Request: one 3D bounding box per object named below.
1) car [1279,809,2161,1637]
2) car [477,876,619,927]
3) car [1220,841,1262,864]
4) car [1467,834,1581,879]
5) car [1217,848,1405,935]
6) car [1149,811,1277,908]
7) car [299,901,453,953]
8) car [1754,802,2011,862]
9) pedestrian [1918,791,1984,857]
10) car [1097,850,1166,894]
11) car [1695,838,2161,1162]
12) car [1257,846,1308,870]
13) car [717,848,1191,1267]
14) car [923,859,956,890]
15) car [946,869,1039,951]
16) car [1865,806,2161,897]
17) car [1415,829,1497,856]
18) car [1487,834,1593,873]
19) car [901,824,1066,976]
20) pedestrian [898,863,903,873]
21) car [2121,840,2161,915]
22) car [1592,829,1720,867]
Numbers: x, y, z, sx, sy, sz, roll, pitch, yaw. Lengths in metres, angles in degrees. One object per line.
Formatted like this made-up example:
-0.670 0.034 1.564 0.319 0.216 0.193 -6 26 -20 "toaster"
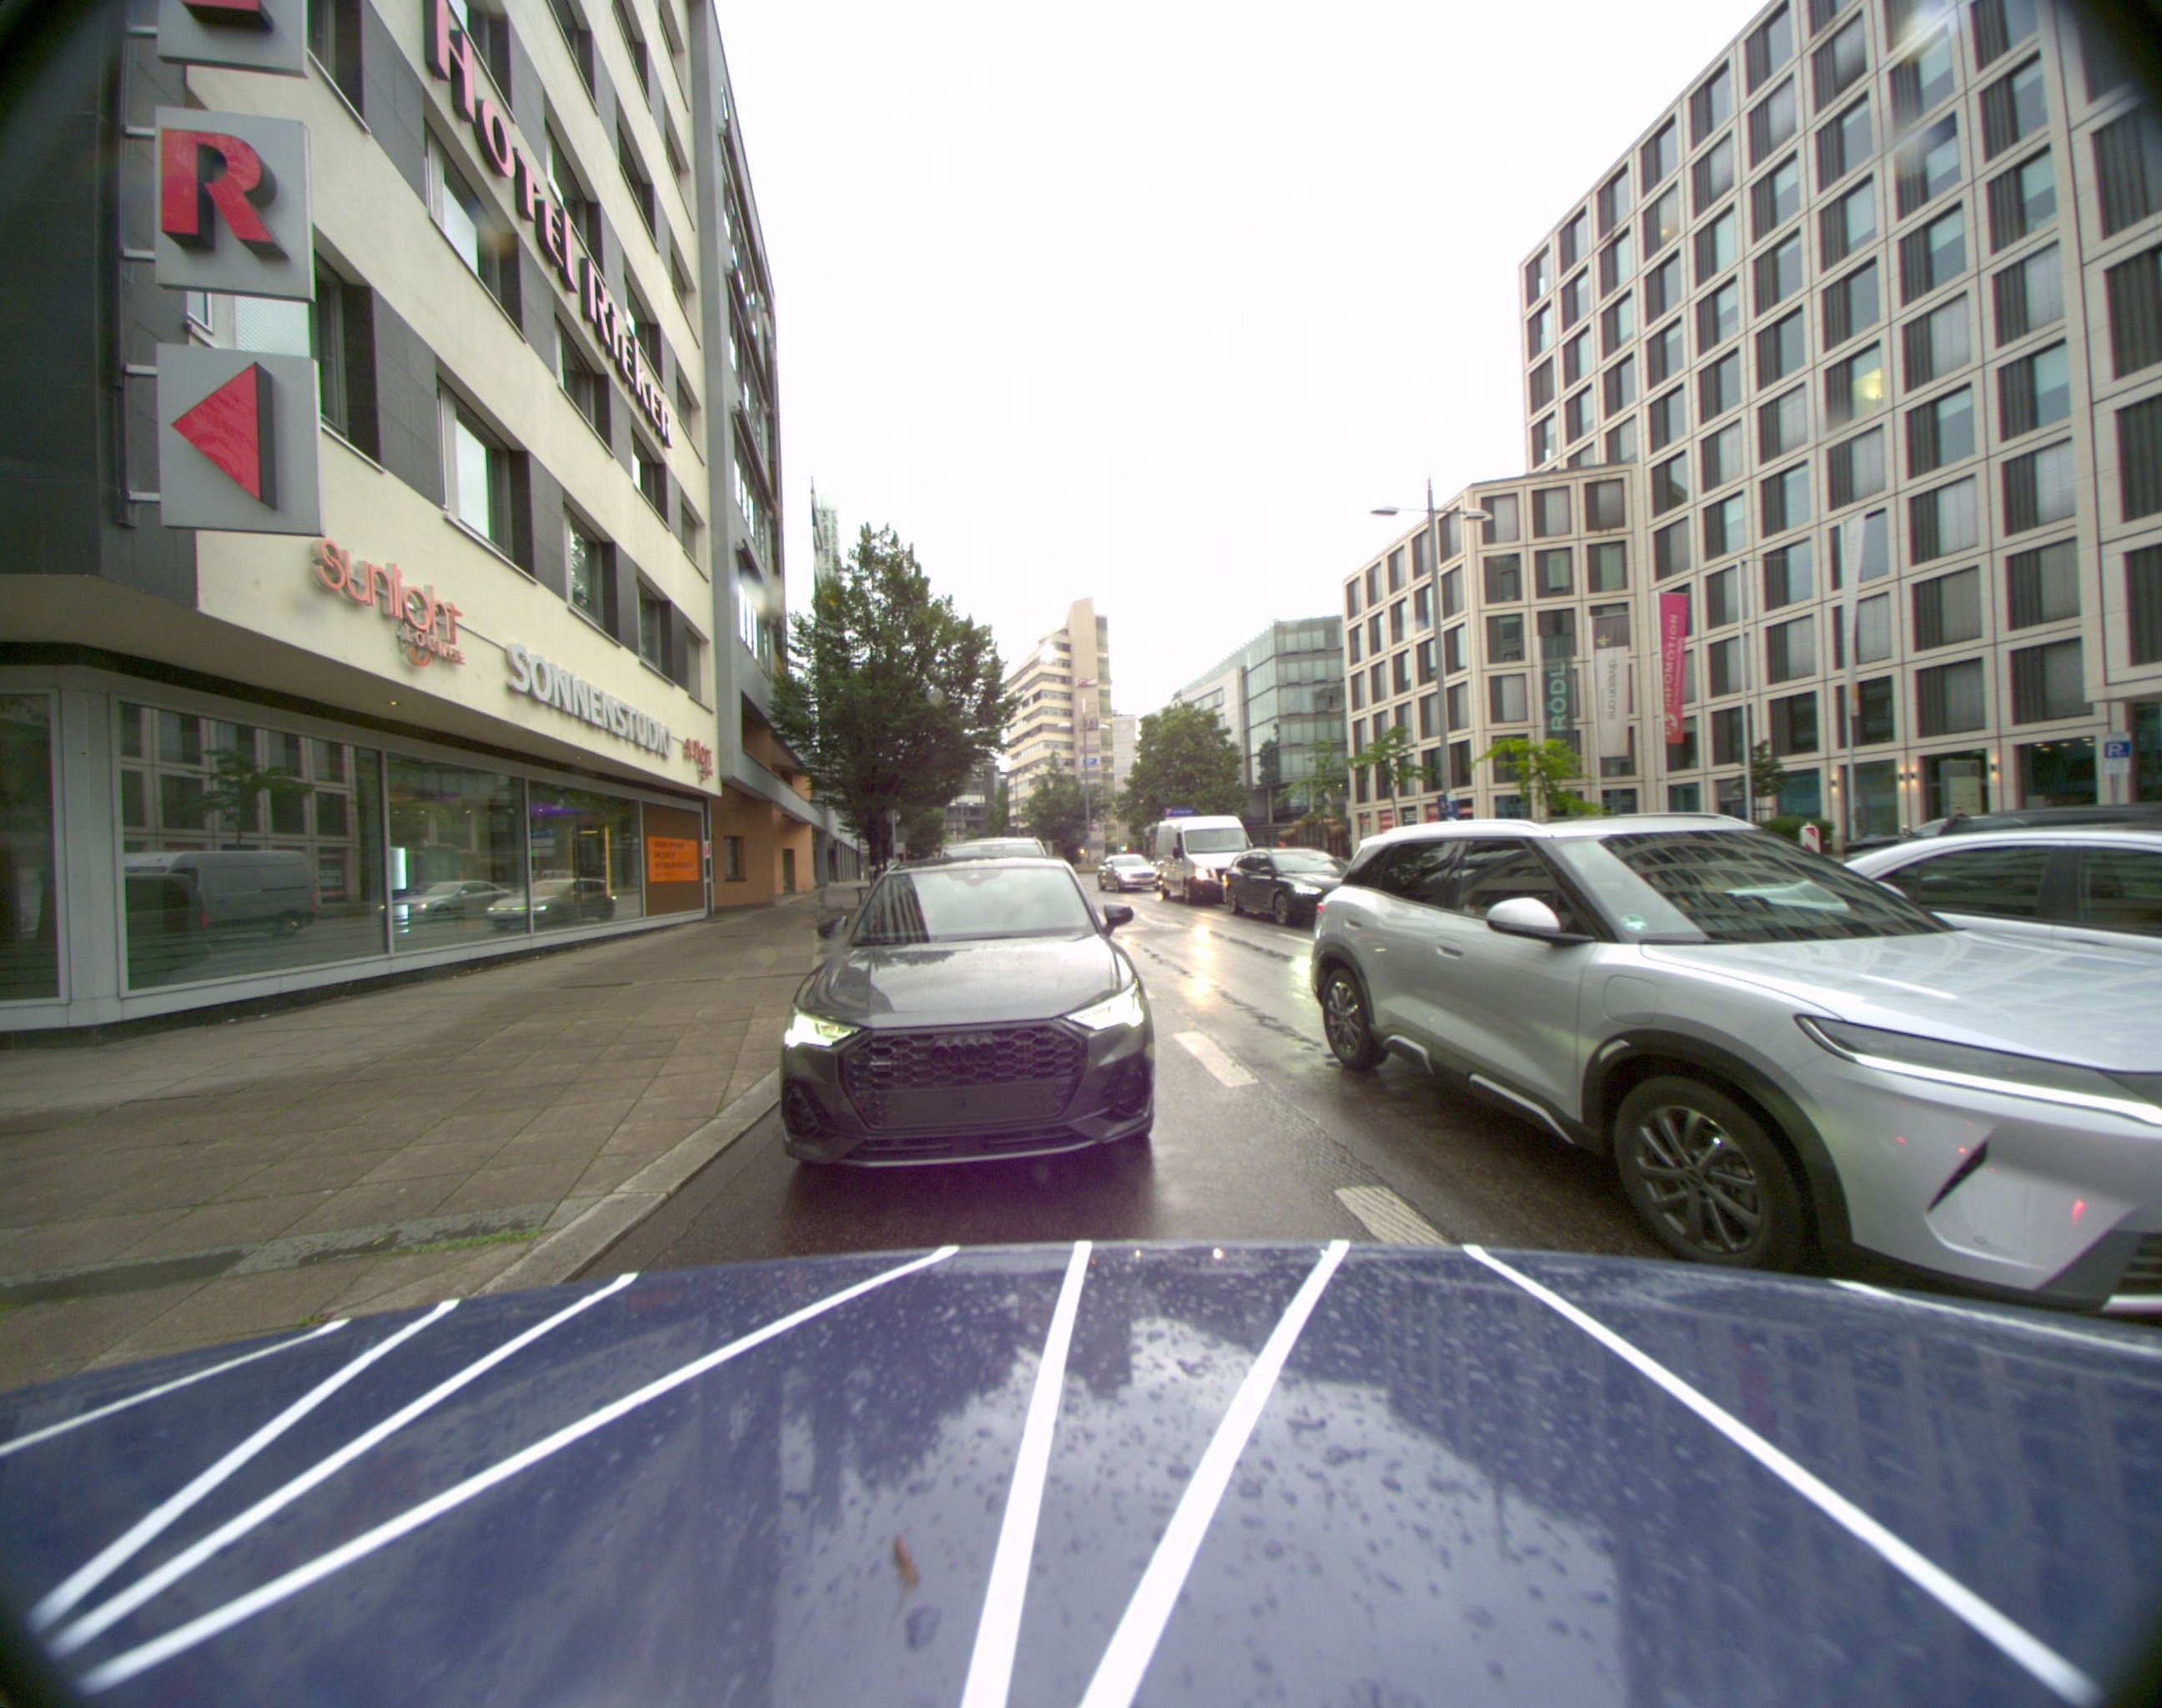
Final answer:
2.703 0.711 3.730 1.814 1.651 4.167 -4 1 -8 "car"
-16.376 1.415 23.613 1.721 1.187 3.998 -3 1 -4 "car"
15.362 -0.184 73.112 2.000 2.002 4.910 -4 1 -13 "car"
16.351 0.083 28.228 1.703 1.510 3.551 -1 0 -12 "car"
4.405 0.634 15.338 1.906 1.393 4.237 -4 1 -9 "car"
3.658 0.090 22.420 2.260 2.371 5.716 -3 1 -4 "car"
-23.734 2.429 25.710 3.391 1.322 1.564 -4 1 -15 "car"
23.735 -0.595 22.868 1.703 1.560 5.178 -1 0 -12 "car"
23.558 -0.807 20.591 0.614 1.724 0.966 -4 2 -11 "pedestrian"
1.924 0.655 30.145 1.786 1.499 3.996 -4 1 -10 "car"
5.780 0.664 3.683 1.738 1.396 4.380 -4 1 -6 "car"
13.568 0.253 51.391 1.703 1.510 3.870 -1 0 -12 "car"
-0.640 0.794 5.262 1.802 1.543 4.385 -3 1 -4 "car"
-7.779 1.096 41.981 1.600 1.460 3.445 -4 1 -8 "car"
-2.752 1.517 22.439 2.061 1.881 5.042 -4 1 -13 "car"
17.196 -0.057 13.590 1.703 1.415 4.135 -1 0 -12 "car"
20.555 -0.603 41.896 1.703 1.415 4.369 -1 0 -12 "car"
19.404 -0.018 32.276 1.704 1.510 3.683 -1 0 -15 "car"
-1.368 0.566 12.545 2.060 1.881 5.047 -3 1 -2 "car"
-29.334 2.284 123.362 0.654 1.589 1.057 -4 2 -18 "pedestrian"
22.881 0.459 14.049 1.703 1.510 3.967 -1 0 -12 "car"
22.956 -0.234 30.539 1.703 1.415 3.951 -1 0 -12 "car"
